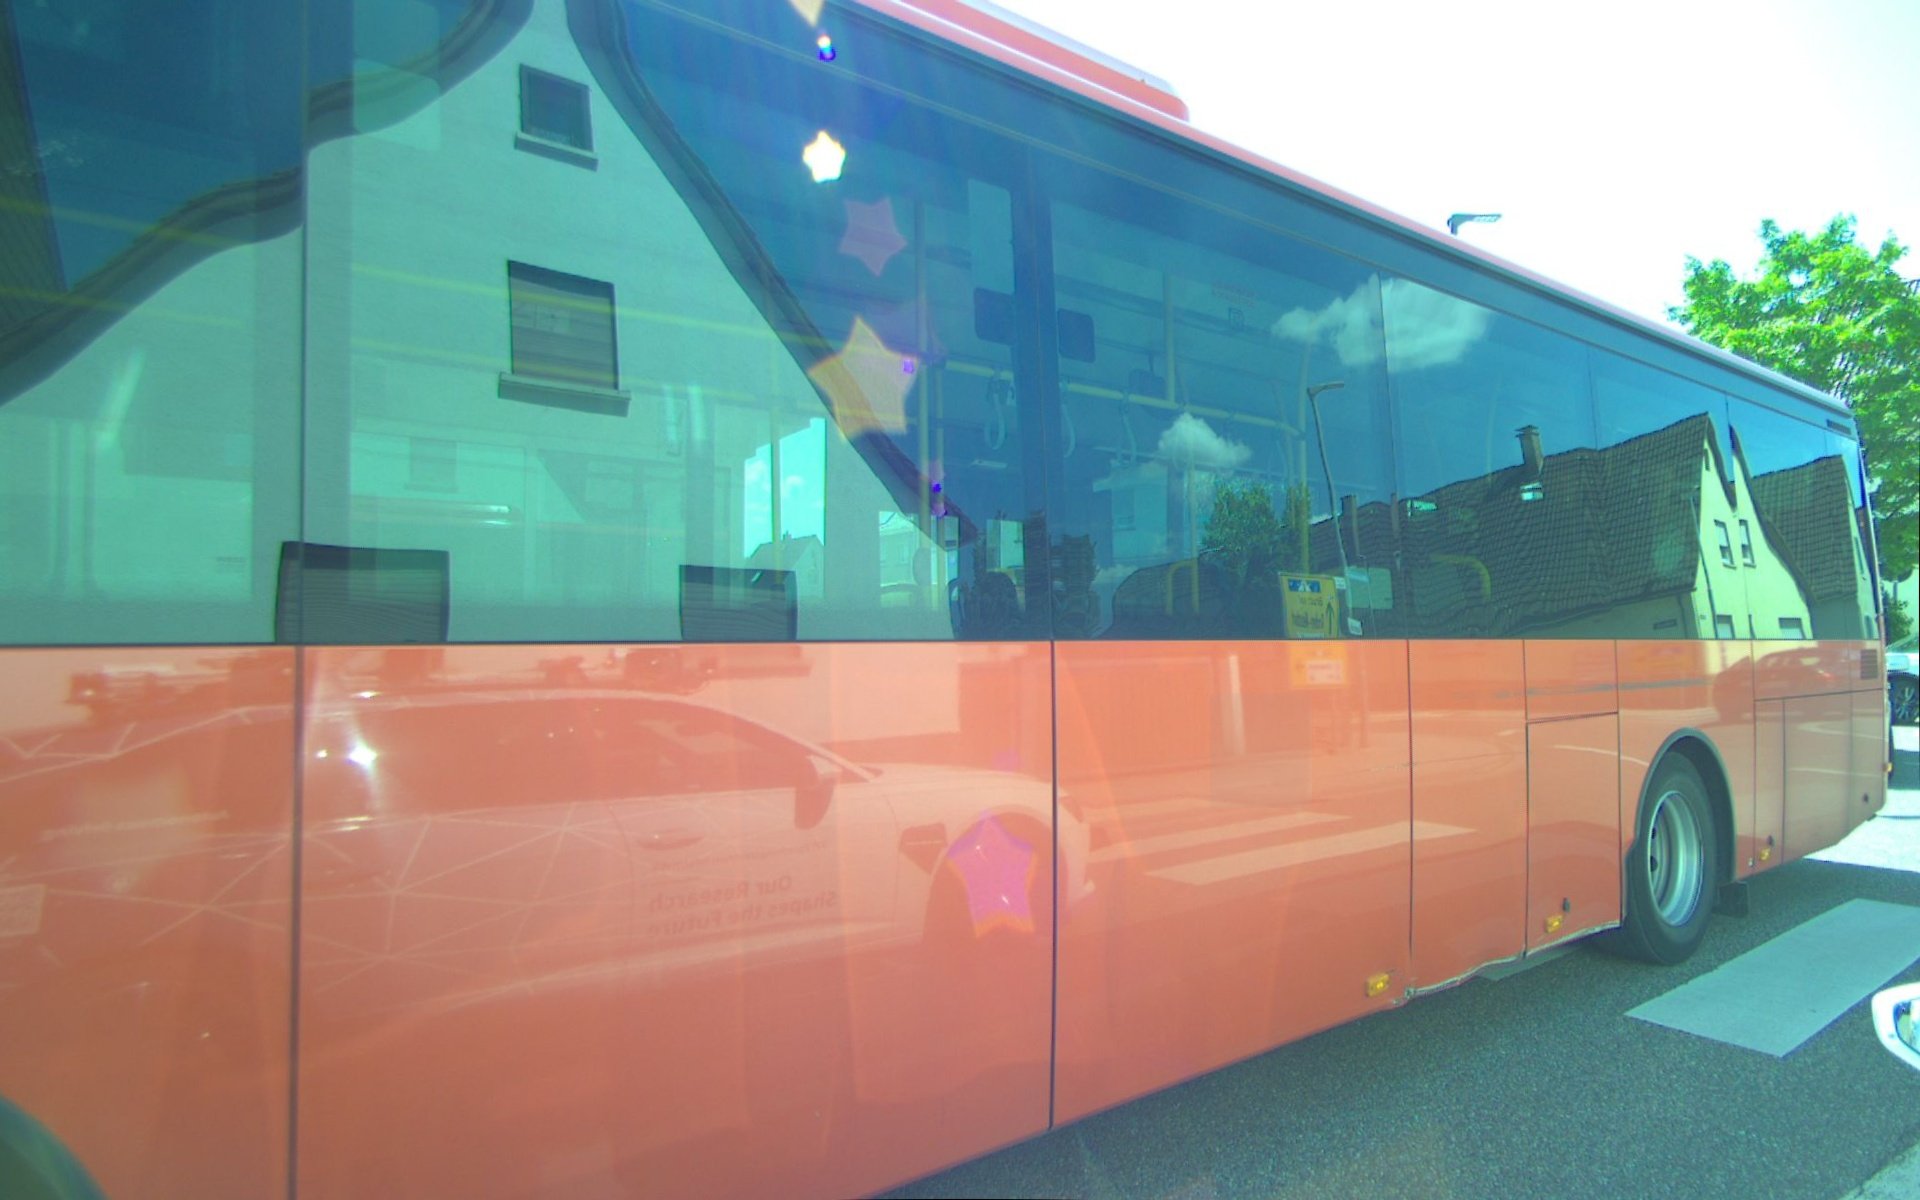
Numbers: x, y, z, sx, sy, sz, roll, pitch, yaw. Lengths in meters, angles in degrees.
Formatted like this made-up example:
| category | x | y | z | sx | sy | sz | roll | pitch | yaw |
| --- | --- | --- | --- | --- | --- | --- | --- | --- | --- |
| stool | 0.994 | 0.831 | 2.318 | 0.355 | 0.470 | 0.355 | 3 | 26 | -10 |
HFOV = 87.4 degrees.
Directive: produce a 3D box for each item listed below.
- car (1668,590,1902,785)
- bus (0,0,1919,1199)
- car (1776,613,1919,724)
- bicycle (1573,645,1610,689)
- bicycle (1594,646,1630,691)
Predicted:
| category | x | y | z | sx | sy | sz | roll | pitch | yaw |
| --- | --- | --- | --- | --- | --- | --- | --- | --- | --- |
| car | 9.665 | 0.925 | 11.758 | 1.752 | 1.845 | 4.419 | -3 | -3 | 41 |
| bus | 0.554 | -0.019 | 4.154 | 11.901 | 3.274 | 2.611 | 1 | -4 | -35 |
| car | 16.281 | 1.092 | 16.183 | 4.453 | 1.732 | 1.872 | 0 | -2 | 20 |
| bicycle | 16.341 | 1.721 | 25.979 | 0.396 | 1.017 | 1.970 | -1 | 0 | 44 |
| bicycle | 16.652 | 1.728 | 25.654 | 0.396 | 1.017 | 1.970 | -1 | 0 | 44 |
